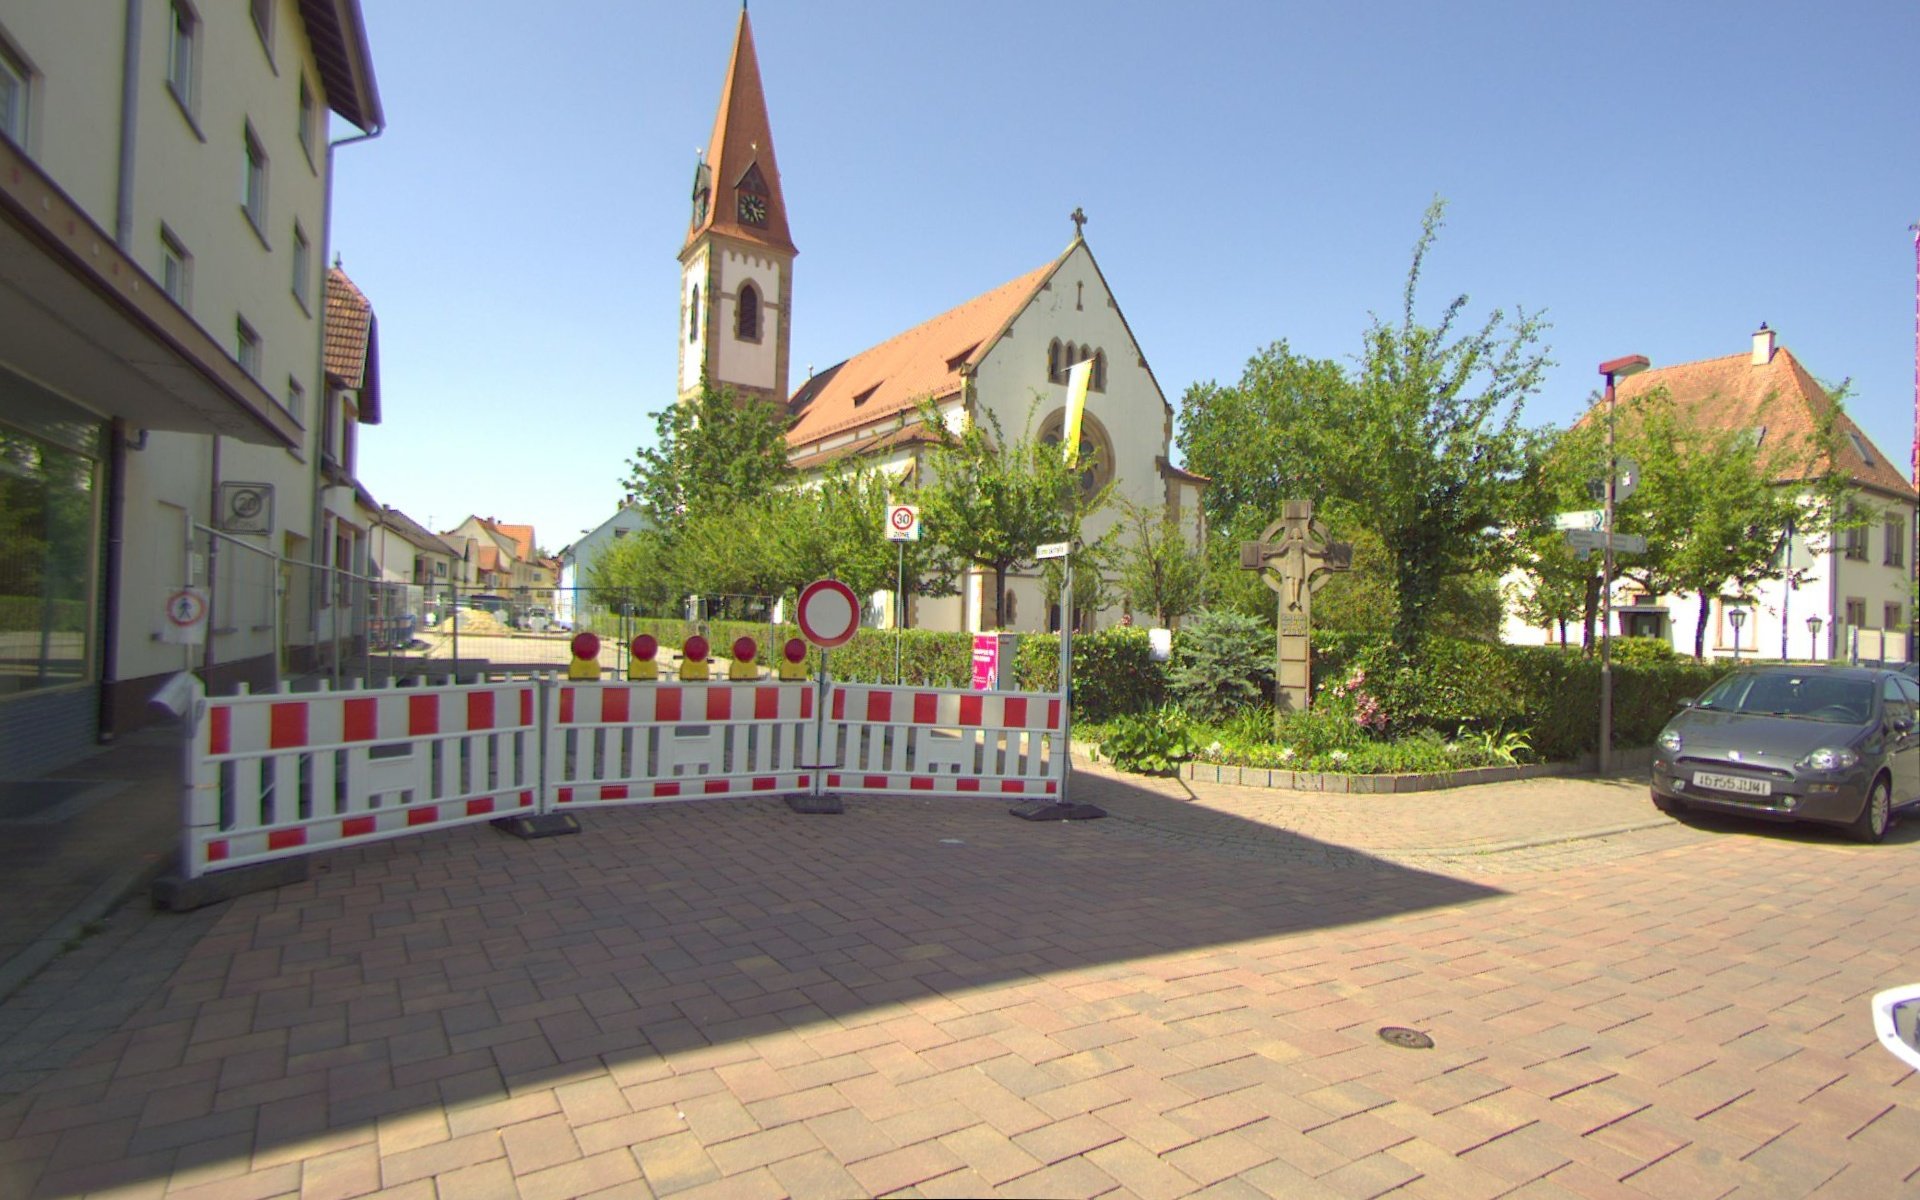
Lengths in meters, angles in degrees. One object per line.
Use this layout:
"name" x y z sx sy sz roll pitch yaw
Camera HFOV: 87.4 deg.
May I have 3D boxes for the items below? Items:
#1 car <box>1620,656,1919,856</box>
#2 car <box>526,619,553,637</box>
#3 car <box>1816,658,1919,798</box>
"car" 8.210 1.370 9.842 3.821 1.516 1.690 3 -2 -36
"car" -37.940 2.500 90.569 1.793 1.483 3.913 3 -2 -30
"car" 13.087 1.638 13.100 3.980 1.626 1.806 3 -2 -32
